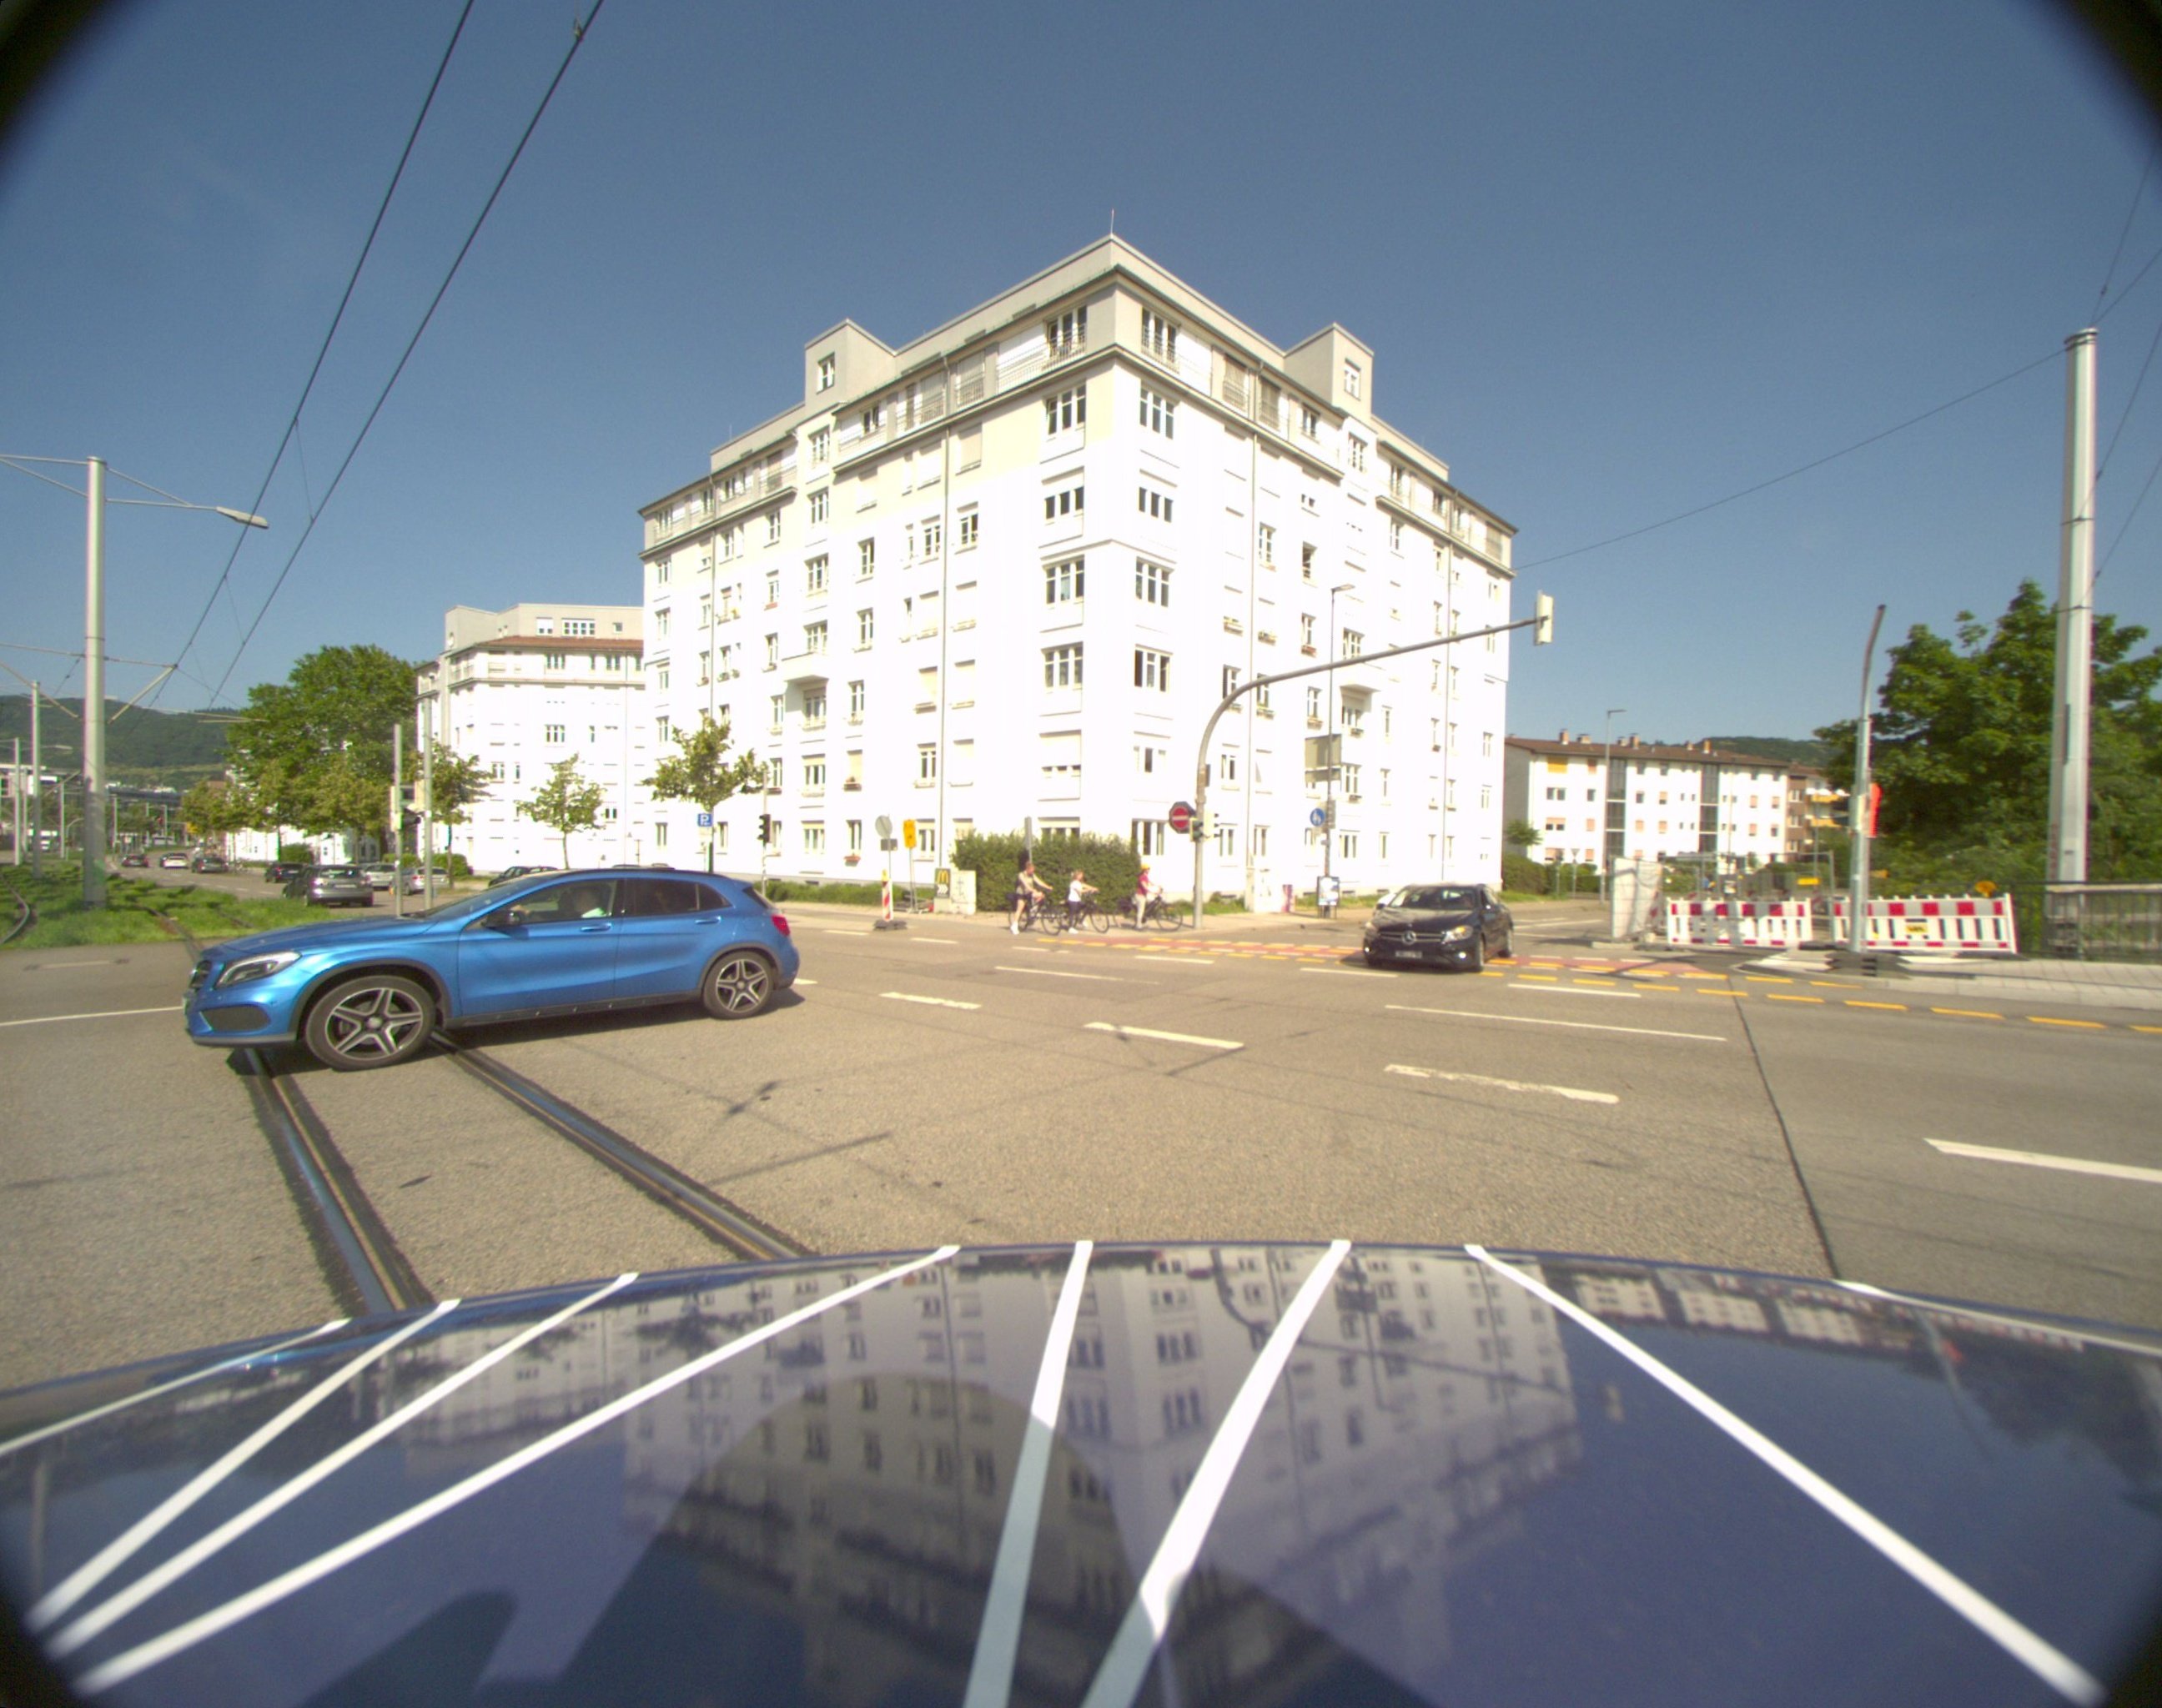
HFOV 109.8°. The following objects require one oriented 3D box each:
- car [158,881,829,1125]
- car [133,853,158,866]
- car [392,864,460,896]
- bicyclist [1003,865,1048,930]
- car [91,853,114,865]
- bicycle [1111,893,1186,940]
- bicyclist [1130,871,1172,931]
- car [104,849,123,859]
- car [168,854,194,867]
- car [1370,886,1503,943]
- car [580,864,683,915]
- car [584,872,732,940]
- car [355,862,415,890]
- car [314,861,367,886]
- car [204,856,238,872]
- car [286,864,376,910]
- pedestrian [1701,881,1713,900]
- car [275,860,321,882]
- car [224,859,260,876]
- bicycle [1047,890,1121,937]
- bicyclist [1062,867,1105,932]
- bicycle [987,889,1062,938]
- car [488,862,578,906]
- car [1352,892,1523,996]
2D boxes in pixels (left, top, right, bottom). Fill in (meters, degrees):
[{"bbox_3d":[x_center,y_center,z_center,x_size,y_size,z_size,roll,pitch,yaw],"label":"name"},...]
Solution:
[{"bbox_3d":[-4.858,1.015,7.015,1.671,1.472,4.561,-1,-2,42],"label":"car"},{"bbox_3d":[-113.899,0.667,92.489,3.729,1.476,1.803,0,0,37],"label":"car"},{"bbox_3d":[-32.904,1.274,38.149,3.729,1.476,1.744,0,0,35],"label":"car"},{"bbox_3d":[-1.375,1.068,19.002,0.915,1.580,0.625,1,1,26],"label":"bicyclist"},{"bbox_3d":[-124.865,0.660,96.936,3.729,1.476,1.803,0,0,37],"label":"car"},{"bbox_3d":[1.721,1.581,19.368,1.810,1.093,0.605,0,0,25],"label":"bicycle"},{"bbox_3d":[1.782,1.176,19.338,0.915,1.469,0.599,0,0,25],"label":"bicyclist"},{"bbox_3d":[-155.604,0.000,122.148,3.729,1.672,1.803,0,0,37],"label":"car"},{"bbox_3d":[-104.880,0.752,88.545,3.729,1.476,1.744,0,0,37],"label":"car"},{"bbox_3d":[10.186,1.647,21.641,4.496,1.403,1.697,2,-1,-40],"label":"car"},{"bbox_3d":[-15.734,1.176,26.546,3.729,1.628,1.744,0,0,35],"label":"car"},{"bbox_3d":[-10.521,1.222,18.851,3.652,1.484,1.598,0,-1,31],"label":"car"},{"bbox_3d":[-39.280,1.208,42.884,3.729,1.476,1.744,0,0,35],"label":"car"},{"bbox_3d":[-46.475,1.189,47.663,3.729,1.476,1.744,0,0,35],"label":"car"},{"bbox_3d":[-82.086,0.916,72.522,3.729,1.476,1.744,0,0,35],"label":"car"},{"bbox_3d":[-27.631,1.179,27.961,3.645,1.546,1.701,0,0,35],"label":"car"},{"bbox_3d":[51.228,2.964,62.190,0.772,1.500,0.606,0,0,-36],"label":"pedestrian"},{"bbox_3d":[-56.007,1.195,54.323,3.729,1.476,1.744,0,0,35],"label":"car"},{"bbox_3d":[-75.274,1.194,68.170,3.729,1.476,1.744,0,0,35],"label":"car"},{"bbox_3d":[0.070,1.483,19.219,1.781,1.093,0.629,0,1,25],"label":"bicycle"},{"bbox_3d":[0.066,1.137,19.216,0.915,1.570,0.625,0,1,25],"label":"bicyclist"},{"bbox_3d":[-1.428,1.466,19.035,1.781,1.093,0.619,1,1,26],"label":"bicycle"},{"bbox_3d":[-22.411,1.181,31.051,3.729,1.628,1.744,0,0,33],"label":"car"},{"bbox_3d":[6.440,1.431,13.416,1.699,1.399,4.633,-1,-2,39],"label":"car"}]
